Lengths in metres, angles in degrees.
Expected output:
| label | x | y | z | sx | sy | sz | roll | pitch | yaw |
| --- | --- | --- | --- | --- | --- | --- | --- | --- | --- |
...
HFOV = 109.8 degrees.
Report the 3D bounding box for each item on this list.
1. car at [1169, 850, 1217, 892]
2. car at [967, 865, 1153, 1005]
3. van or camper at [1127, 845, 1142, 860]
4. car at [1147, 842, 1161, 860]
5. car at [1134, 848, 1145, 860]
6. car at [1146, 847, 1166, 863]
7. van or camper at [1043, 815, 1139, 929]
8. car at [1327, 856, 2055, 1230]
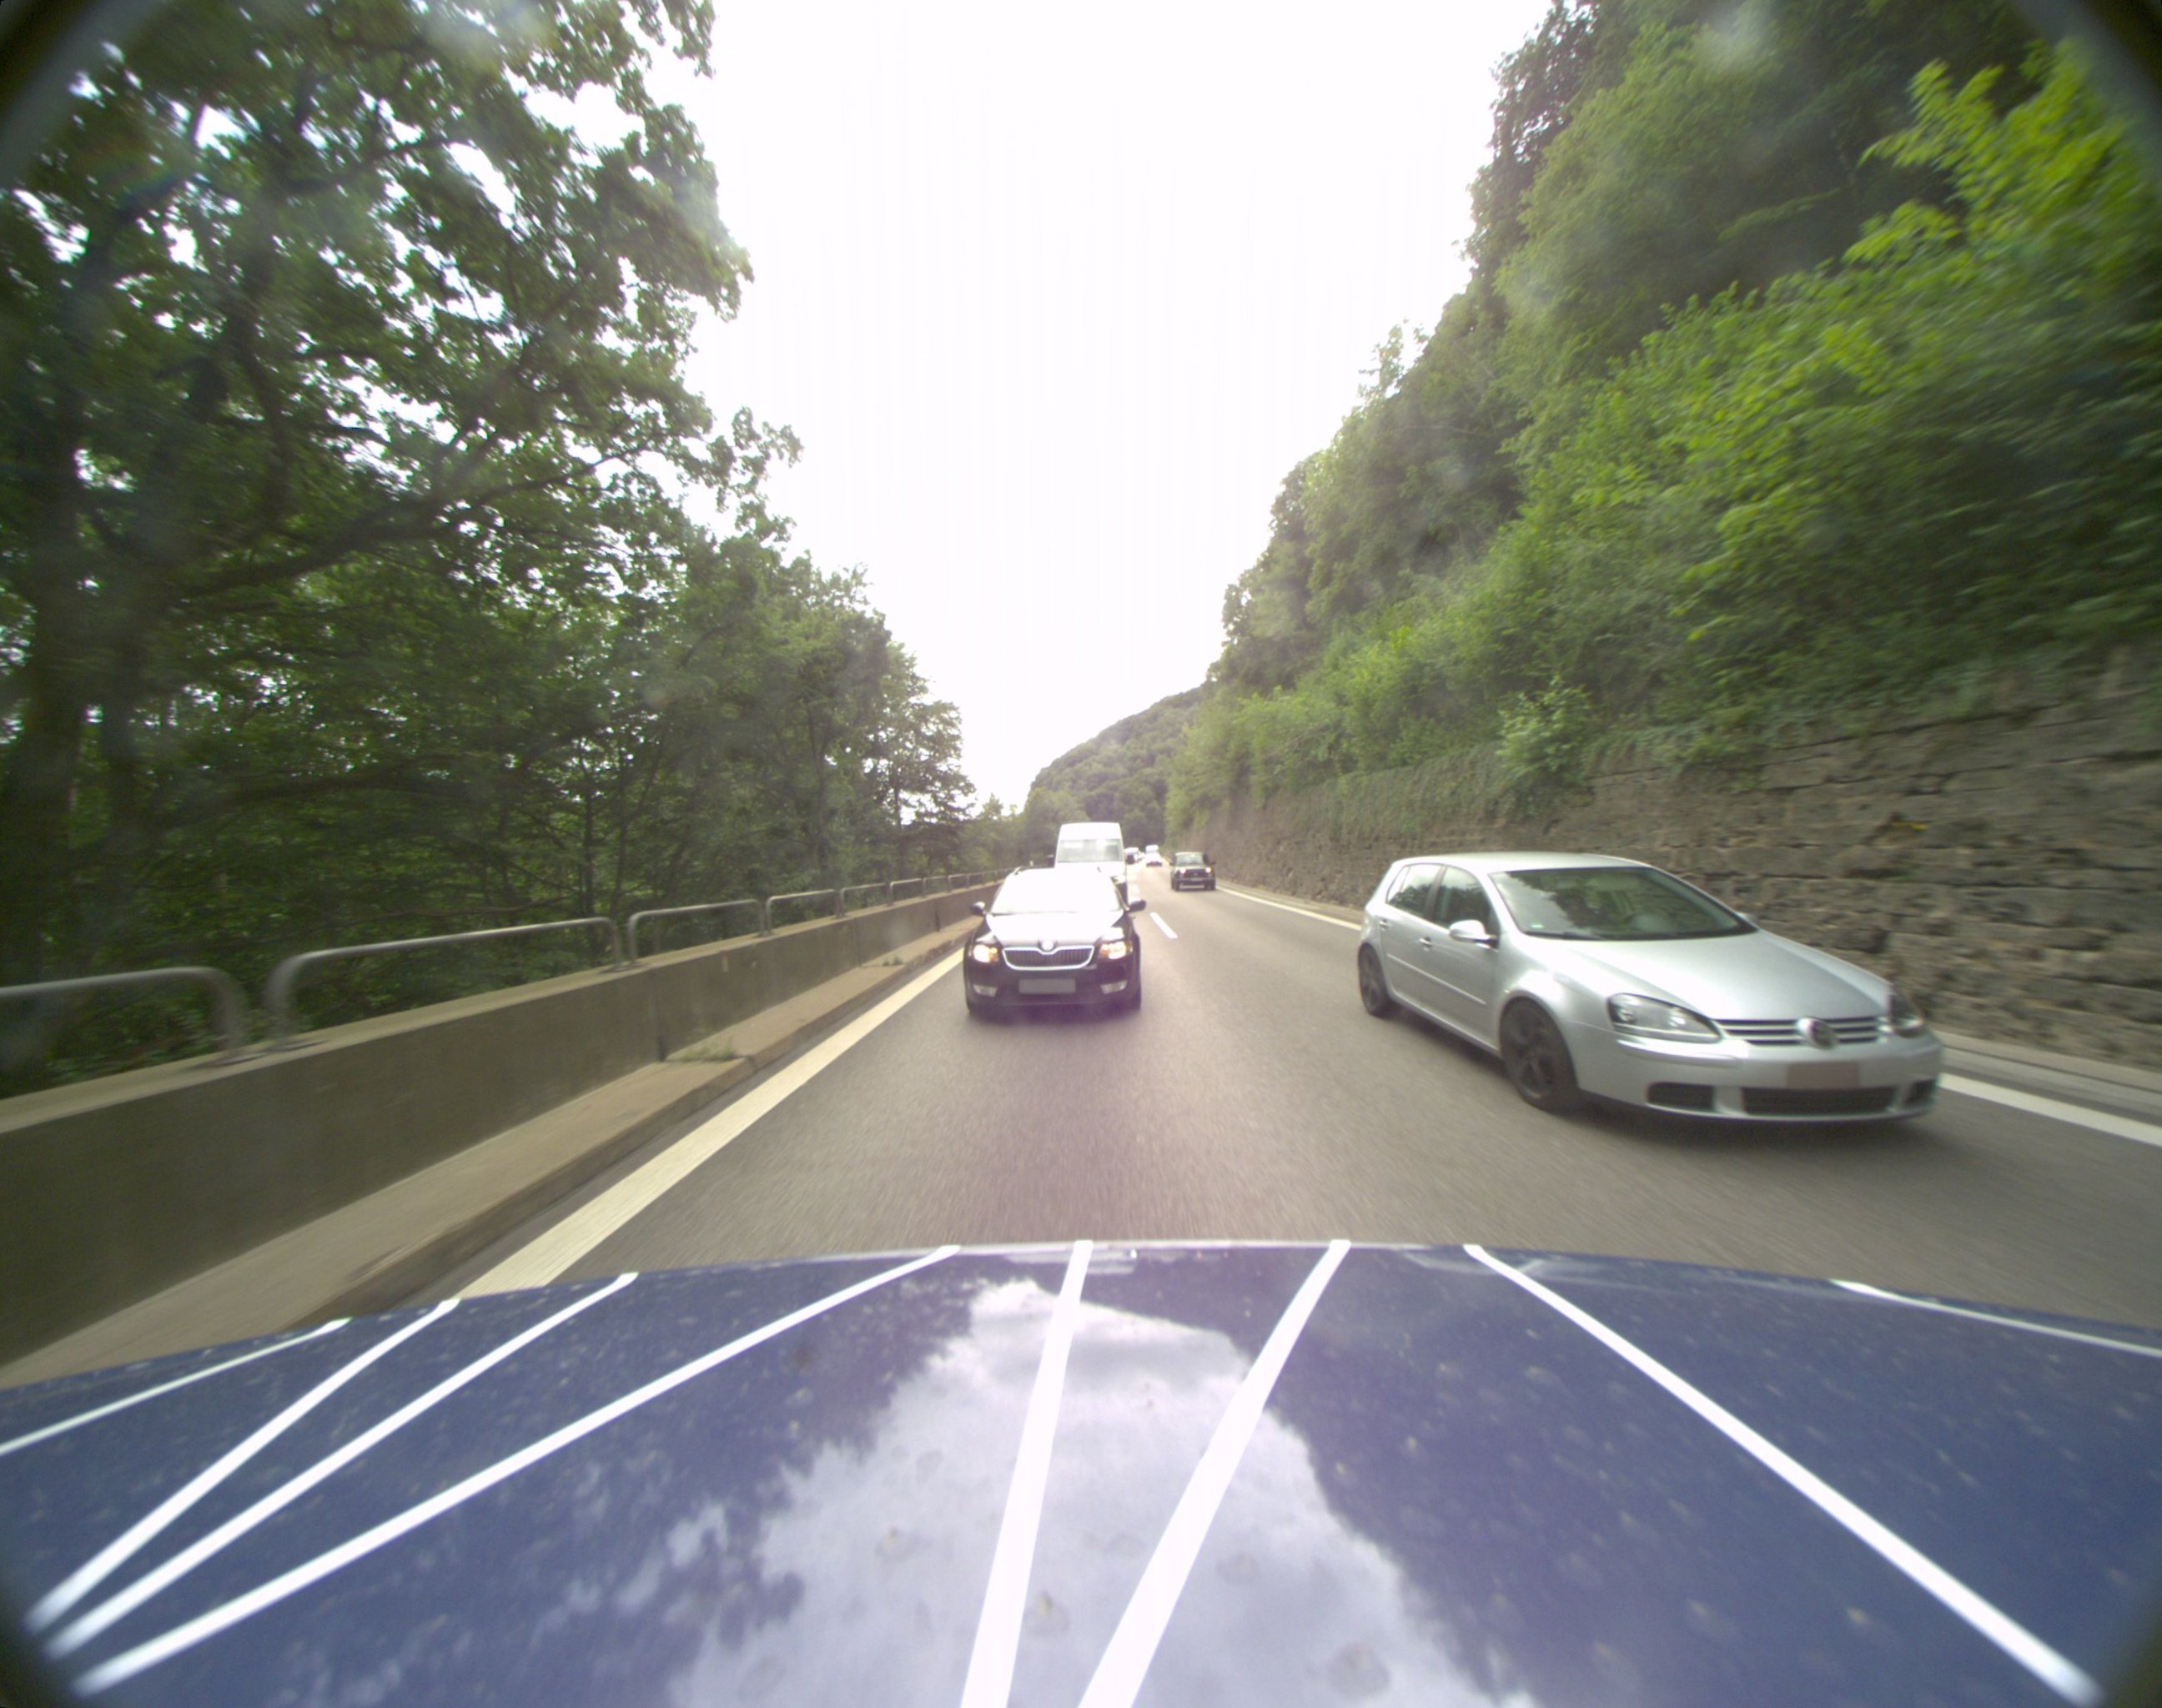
| label | x | y | z | sx | sy | sz | roll | pitch | yaw |
| --- | --- | --- | --- | --- | --- | --- | --- | --- | --- |
| car | 4.821 | 0.683 | 33.172 | 1.812 | 1.646 | 4.585 | -3 | 0 | 6 |
| car | -0.069 | 0.926 | 10.776 | 1.998 | 1.389 | 5.009 | -1 | 0 | 4 |
| van or camper | 9.160 | -0.252 | 130.360 | 2.269 | 2.526 | 5.913 | -3 | 0 | 4 |
| car | 10.933 | -0.464 | 114.477 | 1.975 | 2.628 | 4.584 | -2 | 0 | 4 |
| car | 12.518 | -0.017 | 162.366 | 1.976 | 2.545 | 4.583 | -2 | 0 | 2 |
| car | 8.554 | 0.096 | 87.192 | 1.813 | 1.646 | 4.583 | -3 | 0 | 1 |
| van or camper | 0.346 | 0.434 | 21.129 | 2.081 | 2.575 | 5.912 | -5 | 0 | 2 |
| car | 3.352 | 0.825 | 5.547 | 1.685 | 1.506 | 4.583 | -3 | 0 | 2 |
